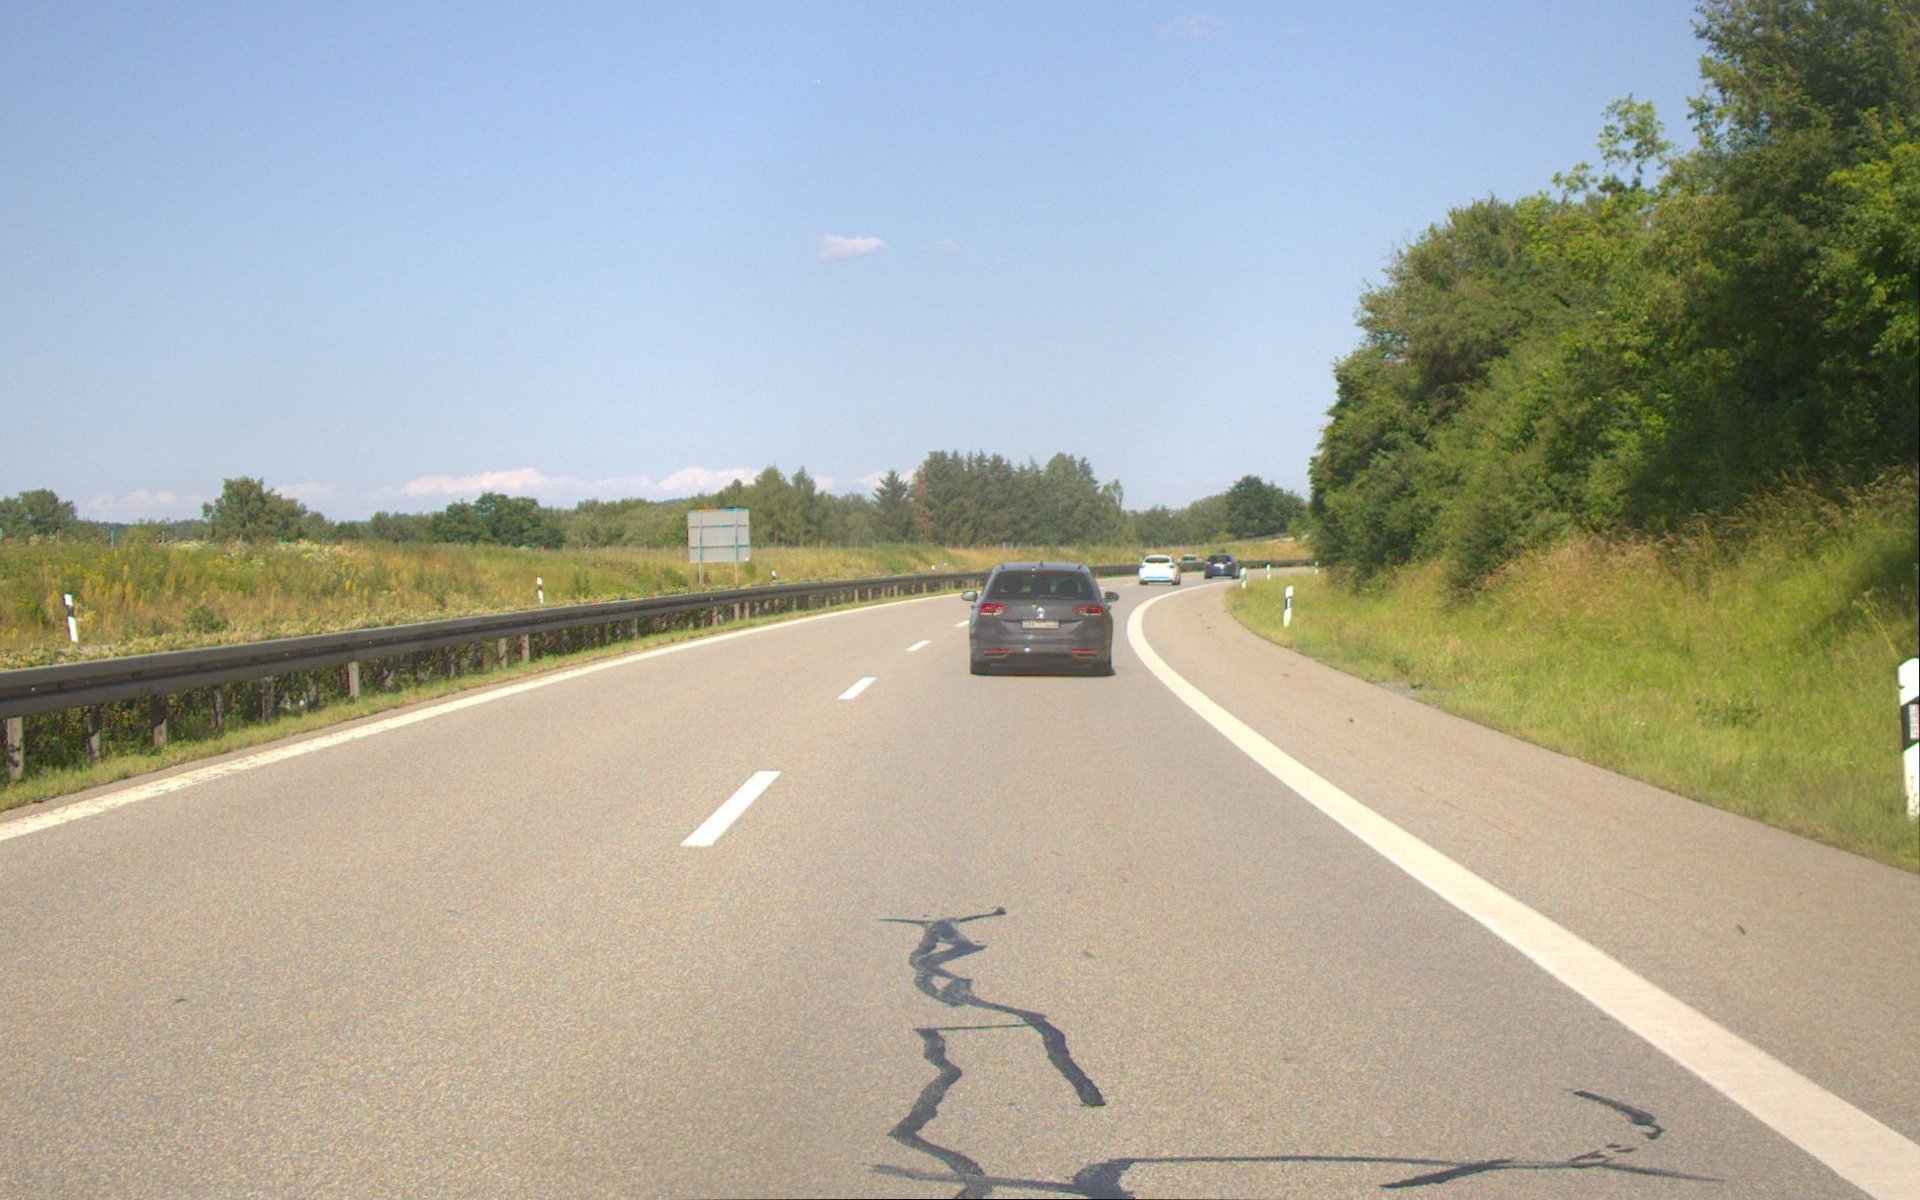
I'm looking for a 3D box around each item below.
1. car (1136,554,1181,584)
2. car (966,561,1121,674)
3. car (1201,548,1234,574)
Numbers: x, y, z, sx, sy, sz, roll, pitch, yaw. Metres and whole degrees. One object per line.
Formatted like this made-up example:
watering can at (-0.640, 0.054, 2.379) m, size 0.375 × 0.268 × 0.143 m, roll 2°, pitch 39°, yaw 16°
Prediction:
car at (9.421, -1.460, 163.069) m, size 2.007 × 1.340 × 3.999 m, roll 2°, pitch 0°, yaw 4°
car at (1.015, 0.191, 43.805) m, size 1.791 × 1.340 × 4.000 m, roll 1°, pitch 1°, yaw -1°
car at (14.967, -2.249, 199.722) m, size 1.711 × 1.382 × 3.354 m, roll 2°, pitch 0°, yaw 8°
